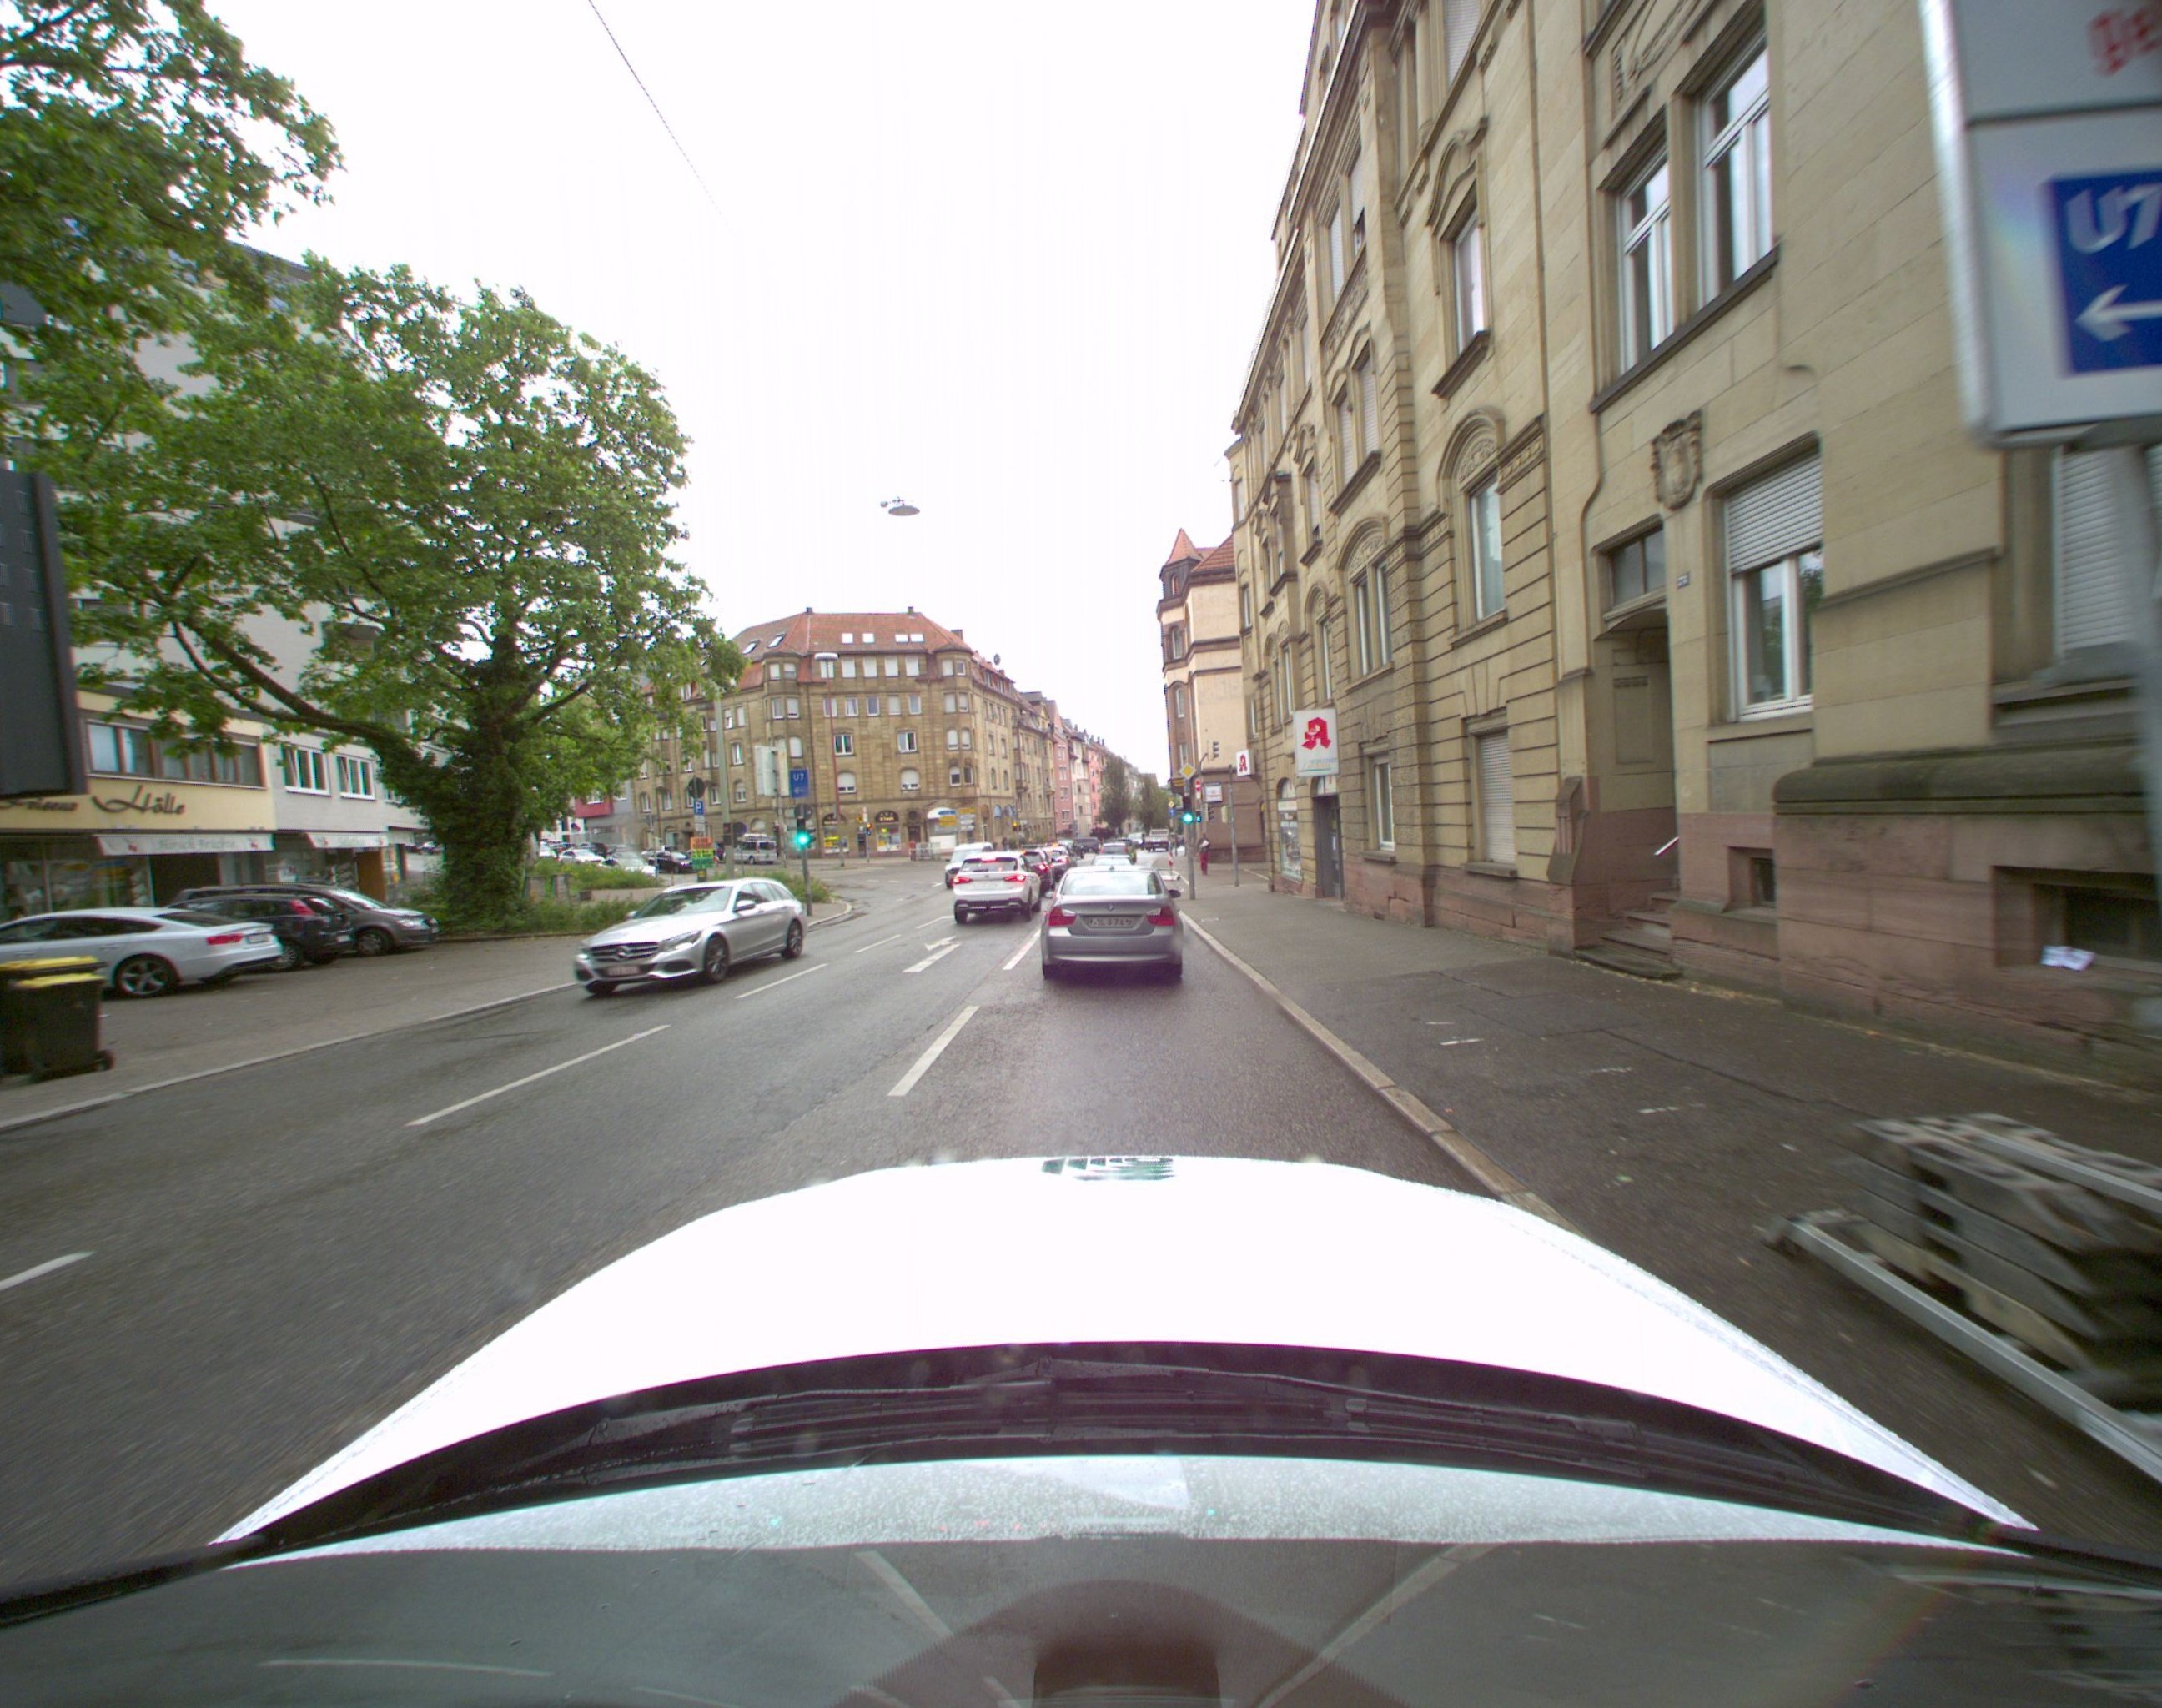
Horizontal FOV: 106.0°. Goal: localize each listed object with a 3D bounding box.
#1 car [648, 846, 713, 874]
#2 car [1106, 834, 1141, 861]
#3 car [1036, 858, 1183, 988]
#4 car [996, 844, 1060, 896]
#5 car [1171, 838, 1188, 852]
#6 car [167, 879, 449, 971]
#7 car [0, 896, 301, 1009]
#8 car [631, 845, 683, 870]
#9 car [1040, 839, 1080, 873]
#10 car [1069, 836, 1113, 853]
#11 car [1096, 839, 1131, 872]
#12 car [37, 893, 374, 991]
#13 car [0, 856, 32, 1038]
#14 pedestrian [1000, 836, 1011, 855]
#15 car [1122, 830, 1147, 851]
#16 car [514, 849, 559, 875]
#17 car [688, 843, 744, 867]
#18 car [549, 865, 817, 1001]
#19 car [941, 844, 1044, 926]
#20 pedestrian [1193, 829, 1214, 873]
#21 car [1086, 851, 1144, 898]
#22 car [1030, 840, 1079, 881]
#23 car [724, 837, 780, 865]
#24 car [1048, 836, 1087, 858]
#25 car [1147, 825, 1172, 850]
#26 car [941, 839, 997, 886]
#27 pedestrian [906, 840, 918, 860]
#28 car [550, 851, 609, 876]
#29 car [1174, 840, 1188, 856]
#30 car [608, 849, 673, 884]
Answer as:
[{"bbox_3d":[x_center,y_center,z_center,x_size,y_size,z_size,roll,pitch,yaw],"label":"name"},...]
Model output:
[{"bbox_3d":[-27.250,0.413,55.359,4.194,1.726,2.013,-1,2,33],"label":"car"},{"bbox_3d":[2.725,-0.409,51.751,1.749,1.567,4.011,-2,0,9],"label":"car"},{"bbox_3d":[0.433,0.784,10.950,1.616,1.383,3.619,-2,0,3],"label":"car"},{"bbox_3d":[-1.841,0.527,29.416,1.752,1.707,4.004,-2,0,3],"label":"car"},{"bbox_3d":[11.268,-1.043,93.204,1.717,1.552,4.005,0,-1,4],"label":"car"},{"bbox_3d":[-16.954,1.499,18.156,4.138,1.653,1.757,-2,-1,-21],"label":"car"},{"bbox_3d":[-15.766,1.559,13.137,4.183,1.456,1.783,-2,-1,-19],"label":"car"},{"bbox_3d":[-37.169,0.262,71.396,4.237,2.101,2.013,0,2,30],"label":"car"},{"bbox_3d":[-1.085,0.109,43.865,1.752,1.707,4.004,-2,0,3],"label":"car"},{"bbox_3d":[1.211,-1.091,97.944,5.157,2.014,2.699,0,-1,2],"label":"car"},{"bbox_3d":[1.632,0.059,40.188,1.588,1.464,4.004,-2,0,4],"label":"car"},{"bbox_3d":[-16.494,1.597,15.621,3.984,1.450,1.758,-2,-1,-19],"label":"car"},{"bbox_3d":[-14.720,1.164,8.014,5.075,2.105,1.980,-2,-1,-19],"label":"car"},{"bbox_3d":[-6.435,-0.713,69.197,0.727,1.577,0.530,-3,0,11],"label":"pedestrian"},{"bbox_3d":[5.630,-1.414,85.233,1.981,2.014,4.011,-3,-1,10],"label":"car"},{"bbox_3d":[-44.162,0.649,65.976,3.948,2.013,1.587,-2,0,34],"label":"car"},{"bbox_3d":[-29.401,0.087,65.628,4.237,1.838,2.013,0,2,30],"label":"car"},{"bbox_3d":[-5.852,1.052,12.710,1.731,1.526,4.474,-6,0,2],"label":"car"},{"bbox_3d":[-2.069,0.667,20.192,1.861,1.625,4.003,-4,2,2],"label":"car"},{"bbox_3d":[5.458,-0.120,36.335,0.739,1.910,0.659,-3,0,1],"label":"pedestrian"},{"bbox_3d":[1.169,0.616,27.028,1.752,1.383,4.004,-2,0,3],"label":"car"},{"bbox_3d":[-1.139,0.281,36.708,1.752,1.707,4.004,-2,0,3],"label":"car"},{"bbox_3d":[-26.499,-0.269,65.609,4.237,2.101,2.013,0,2,30],"label":"car"},{"bbox_3d":[-0.938,-0.462,58.905,1.831,1.541,4.014,0,-1,13],"label":"car"},{"bbox_3d":[7.029,-1.450,72.986,1.986,2.106,4.002,-1,0,2],"label":"car"},{"bbox_3d":[-5.056,0.366,37.267,1.755,1.925,4.325,-3,0,2],"label":"car"},{"bbox_3d":[-13.791,-0.350,66.458,0.531,1.577,0.724,-3,0,36],"label":"pedestrian"},{"bbox_3d":[-38.121,0.704,61.929,4.194,1.726,2.013,-1,2,31],"label":"car"},{"bbox_3d":[13.011,-0.772,105.517,1.715,2.014,4.009,0,-1,8],"label":"car"},{"bbox_3d":[-27.435,0.779,50.706,3.948,2.013,1.890,-3,0,34],"label":"car"}]
